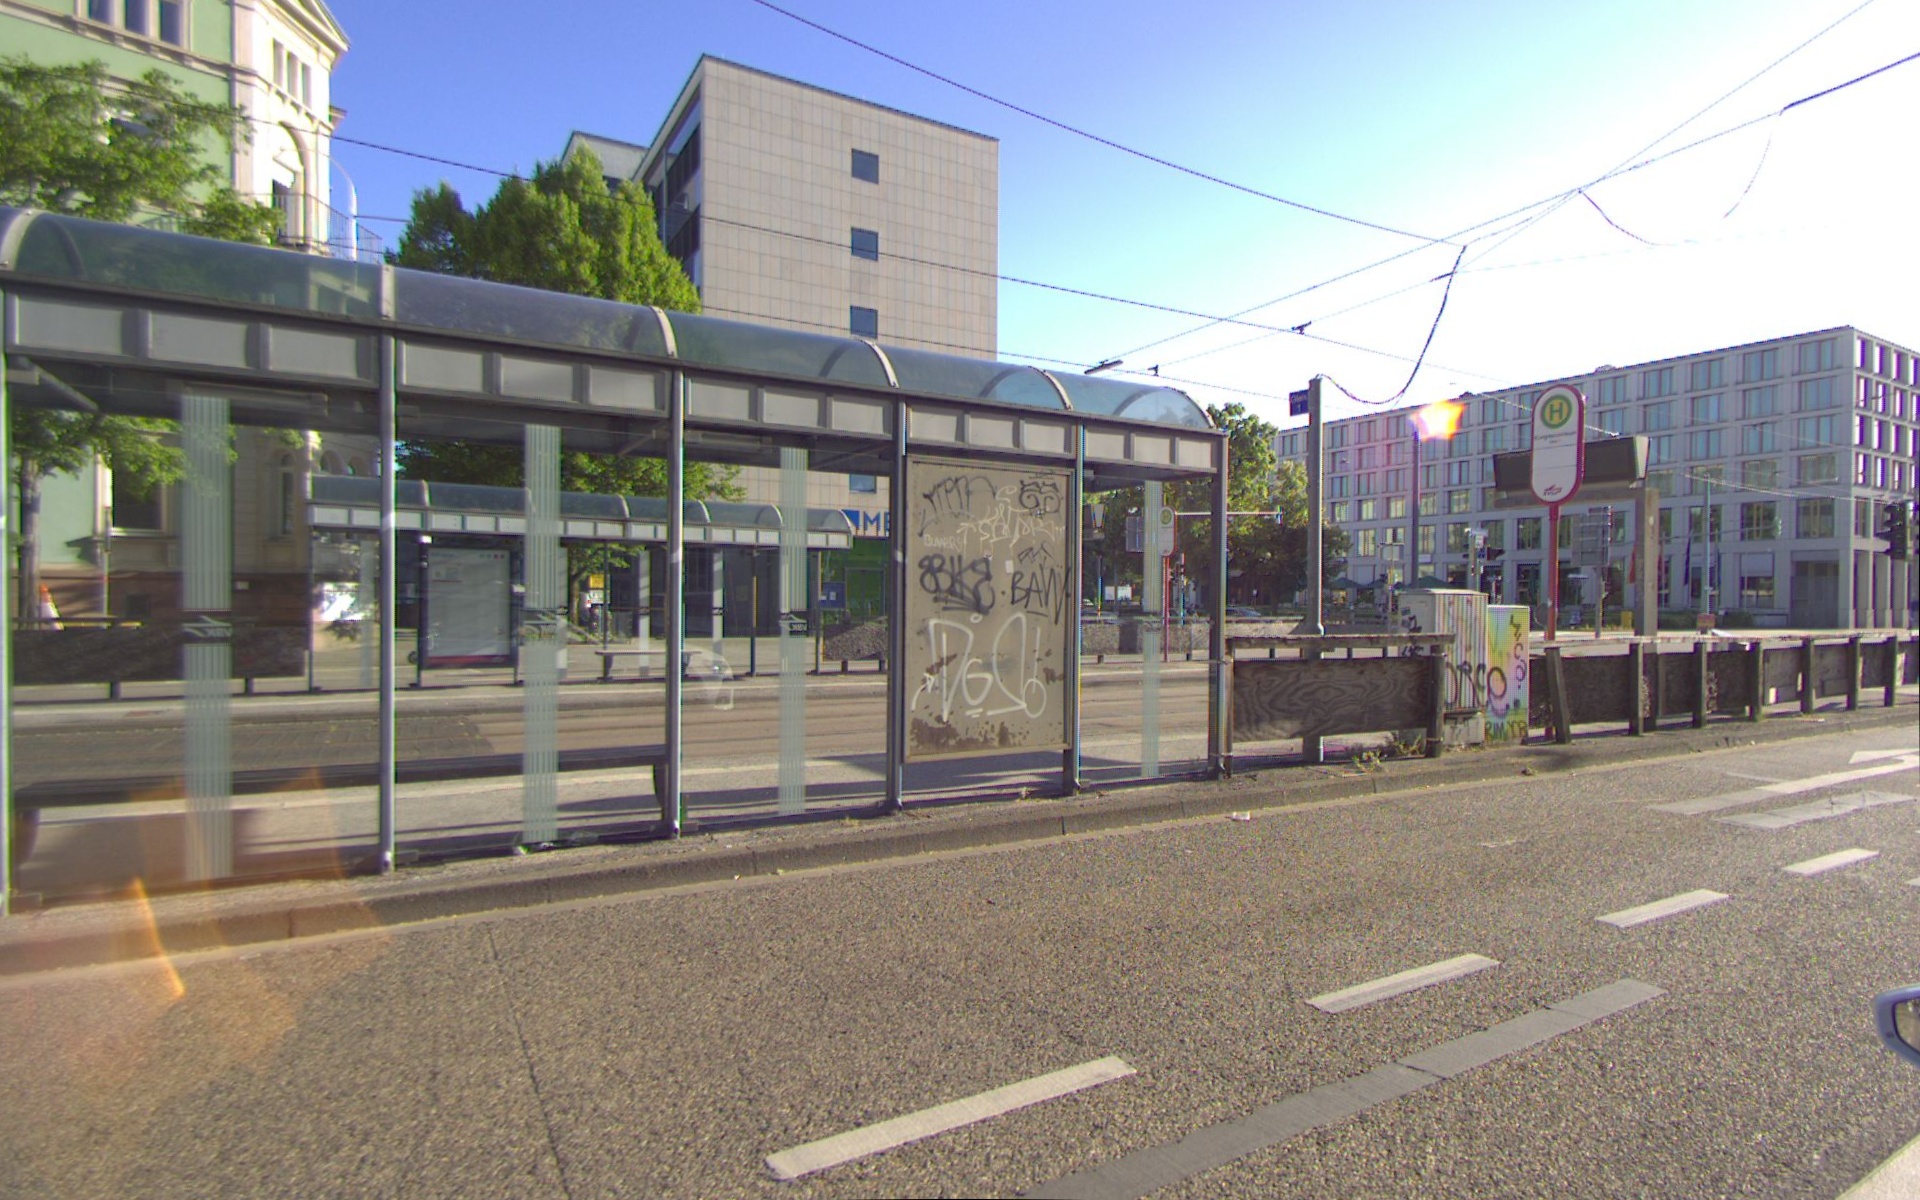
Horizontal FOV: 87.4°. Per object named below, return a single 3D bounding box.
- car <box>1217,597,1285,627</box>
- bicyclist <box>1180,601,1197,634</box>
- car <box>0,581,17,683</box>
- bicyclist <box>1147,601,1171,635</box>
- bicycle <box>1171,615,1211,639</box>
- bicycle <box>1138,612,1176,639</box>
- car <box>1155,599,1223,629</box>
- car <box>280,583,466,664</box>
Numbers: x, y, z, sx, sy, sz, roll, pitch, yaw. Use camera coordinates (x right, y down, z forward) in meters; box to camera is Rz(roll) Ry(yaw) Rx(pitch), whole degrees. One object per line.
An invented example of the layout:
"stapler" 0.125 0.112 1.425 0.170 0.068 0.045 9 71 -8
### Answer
"car" 15.958 0.624 55.213 1.505 1.526 3.511 1 1 -32
"bicyclist" 11.344 0.858 49.840 0.588 1.604 0.614 1 0 -35
"car" -17.991 0.430 16.436 4.424 1.663 1.591 2 0 15
"bicyclist" 10.159 0.926 51.372 0.833 1.717 0.887 1 0 -25
"bicycle" 11.433 1.319 49.752 0.782 1.137 1.911 1 0 -33
"bicycle" 10.094 1.292 51.495 0.874 1.305 2.042 1 0 -24
"car" 12.192 0.720 53.602 1.505 1.526 3.511 1 1 -32
"car" -13.606 0.493 23.215 4.432 1.590 1.588 2 0 28
